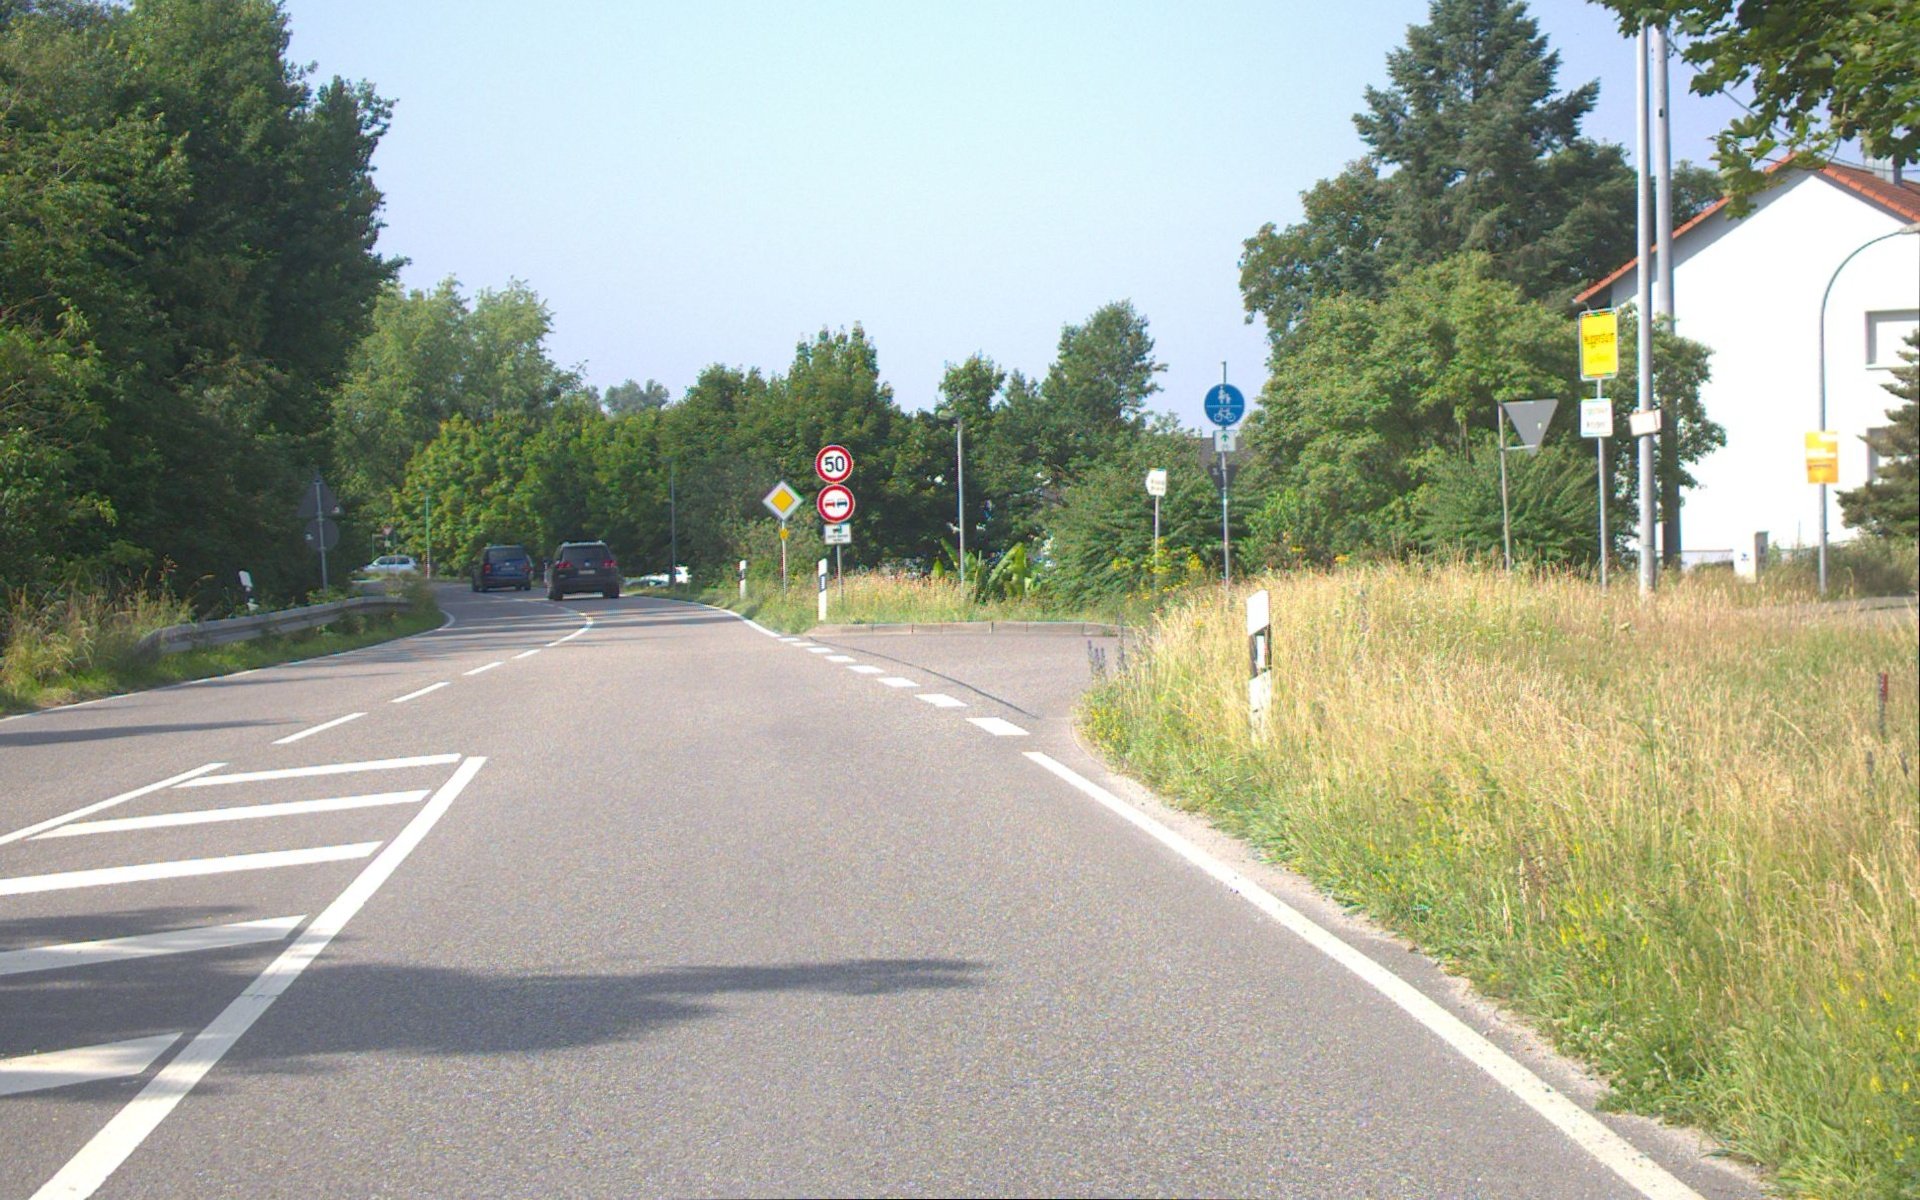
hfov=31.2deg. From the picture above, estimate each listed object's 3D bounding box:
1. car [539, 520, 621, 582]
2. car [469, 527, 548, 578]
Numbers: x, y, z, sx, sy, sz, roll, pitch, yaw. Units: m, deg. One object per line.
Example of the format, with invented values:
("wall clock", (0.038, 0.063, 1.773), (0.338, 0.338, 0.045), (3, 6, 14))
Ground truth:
("car", (-11.290, -1.471, 101.977), (1.924, 1.765, 4.001), (-1, 2, -13))
("car", (-16.237, -1.724, 123.439), (2.003, 1.765, 4.001), (-1, 2, -19))
